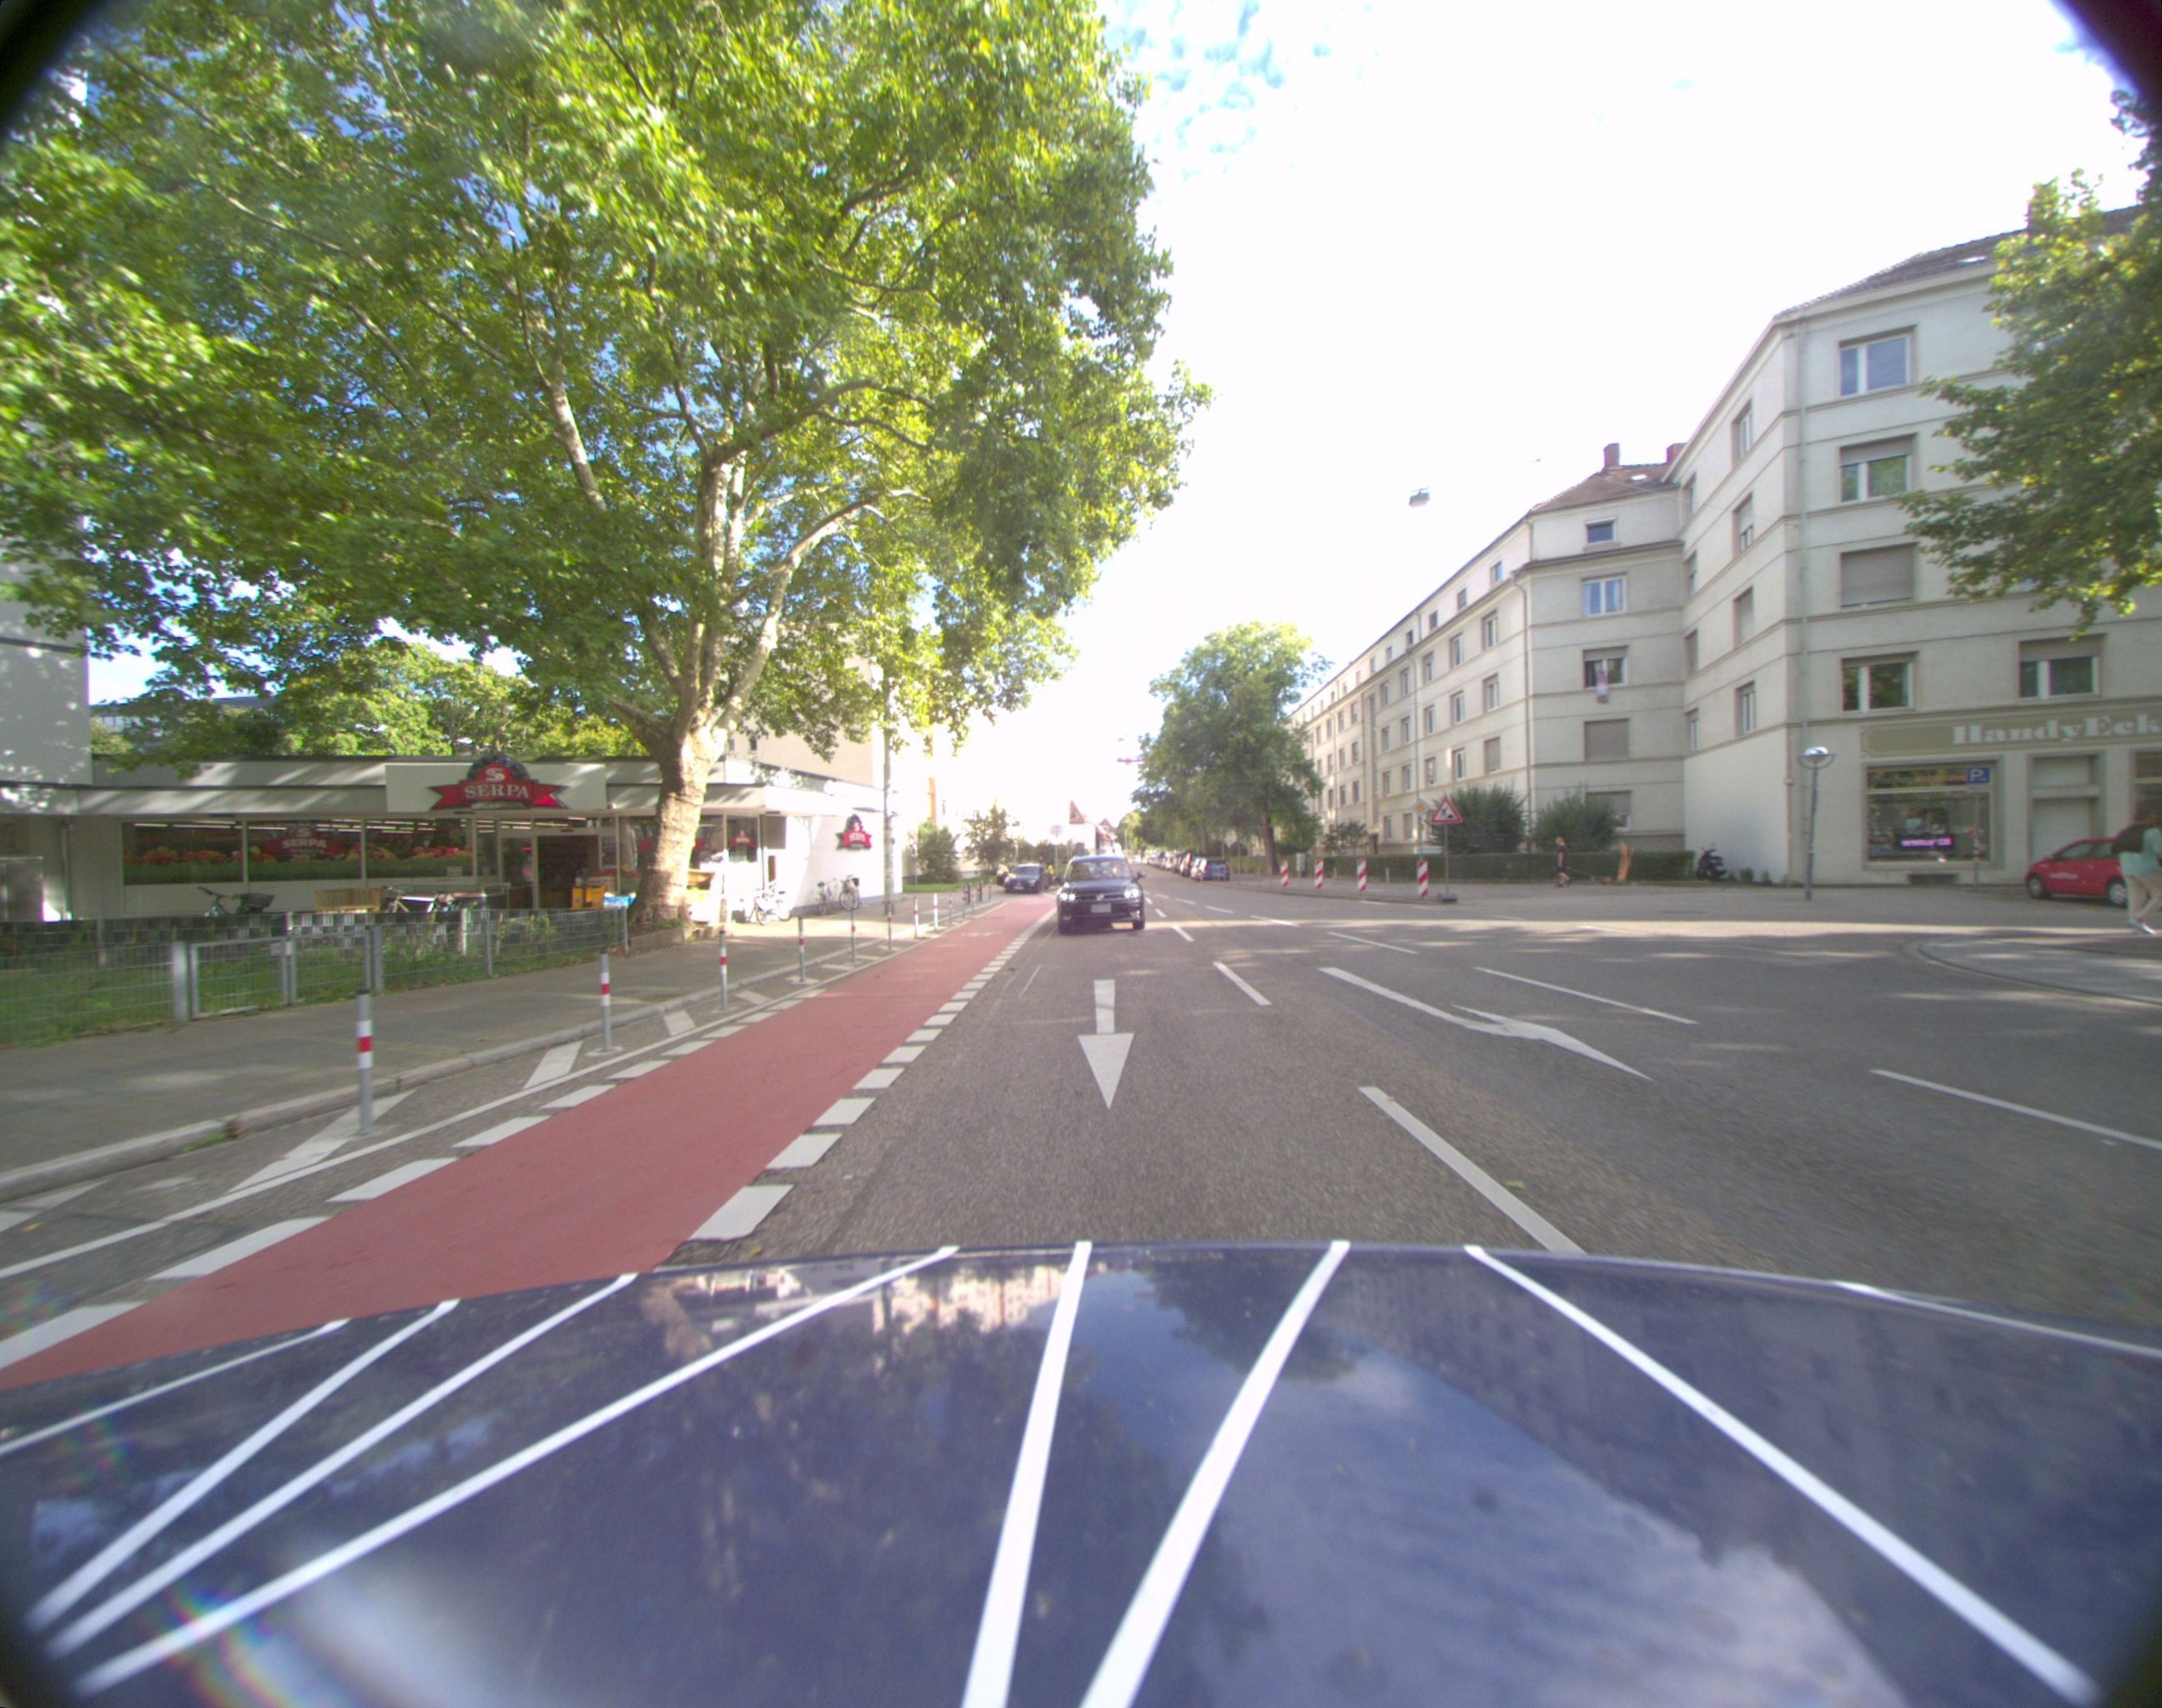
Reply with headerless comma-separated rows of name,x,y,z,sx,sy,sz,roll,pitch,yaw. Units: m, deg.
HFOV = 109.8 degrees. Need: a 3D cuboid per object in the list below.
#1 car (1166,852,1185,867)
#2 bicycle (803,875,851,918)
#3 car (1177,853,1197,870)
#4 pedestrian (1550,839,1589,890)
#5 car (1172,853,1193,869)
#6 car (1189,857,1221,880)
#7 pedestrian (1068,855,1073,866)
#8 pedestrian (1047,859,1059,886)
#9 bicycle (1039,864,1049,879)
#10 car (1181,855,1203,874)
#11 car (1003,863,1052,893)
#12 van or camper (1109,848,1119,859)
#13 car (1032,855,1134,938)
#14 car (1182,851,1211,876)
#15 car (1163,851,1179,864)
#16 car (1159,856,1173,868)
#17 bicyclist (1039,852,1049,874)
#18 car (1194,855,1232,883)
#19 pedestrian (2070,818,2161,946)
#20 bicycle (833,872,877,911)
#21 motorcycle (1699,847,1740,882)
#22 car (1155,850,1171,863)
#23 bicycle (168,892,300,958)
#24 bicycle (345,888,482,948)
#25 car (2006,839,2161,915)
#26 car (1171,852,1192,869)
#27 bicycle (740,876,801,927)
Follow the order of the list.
car,10.551,0.630,85.123,1.743,1.610,3.995,-2,0,2
bicycle,-7.906,1.289,23.735,0.712,1.199,1.771,2,1,6
car,9.284,0.645,66.742,1.556,1.511,3.017,1,0,5
pedestrian,15.514,0.333,24.161,0.734,1.569,0.732,-2,1,-1
car,9.412,0.630,70.628,1.704,1.478,3.849,1,0,4
car,8.424,0.978,51.755,1.803,1.485,3.804,1,0,4
pedestrian,-1.591,0.976,112.343,0.543,1.711,0.772,-1,0,9
pedestrian,-1.589,1.055,43.251,0.654,1.529,0.743,0,1,3
bicycle,-2.842,1.369,58.926,0.525,1.128,1.930,-2,0,3
car,9.070,0.829,62.359,1.698,1.484,4.334,0,0,7
car,-2.764,1.227,40.180,1.764,1.403,4.235,0,0,7
van or camper,7.702,-0.198,175.539,2.164,2.512,5.915,1,0,3
car,0.174,0.924,18.181,1.858,1.673,4.002,-2,0,8
car,8.669,0.681,57.215,1.727,1.871,4.192,0,0,3
car,10.564,0.403,89.476,1.618,1.460,4.014,-1,0,3
car,11.243,1.015,100.512,1.688,1.472,4.453,2,1,6
bicyclist,-2.865,0.676,58.636,0.625,1.668,0.893,-2,1,3
car,8.140,0.900,47.040,1.803,1.611,3.803,1,0,2
pedestrian,15.269,0.373,10.907,1.078,1.743,0.918,-3,1,-13
bicycle,-7.625,1.253,25.748,0.770,1.199,1.816,2,1,6
motorcycle,21.825,0.334,25.995,0.545,1.156,1.879,-1,0,24
car,11.916,0.339,110.767,1.881,1.782,4.971,1,0,2
bicycle,-15.859,1.291,14.309,0.693,1.065,1.854,-1,0,-12
bicycle,-13.128,1.229,15.003,0.747,1.032,1.860,-7,-4,26
car,22.623,0.440,16.588,1.592,1.469,3.712,-2,0,25
car,10.067,0.609,76.136,1.803,1.658,4.484,1,0,4
bicycle,-8.217,1.233,20.187,0.713,1.199,1.816,2,1,5
